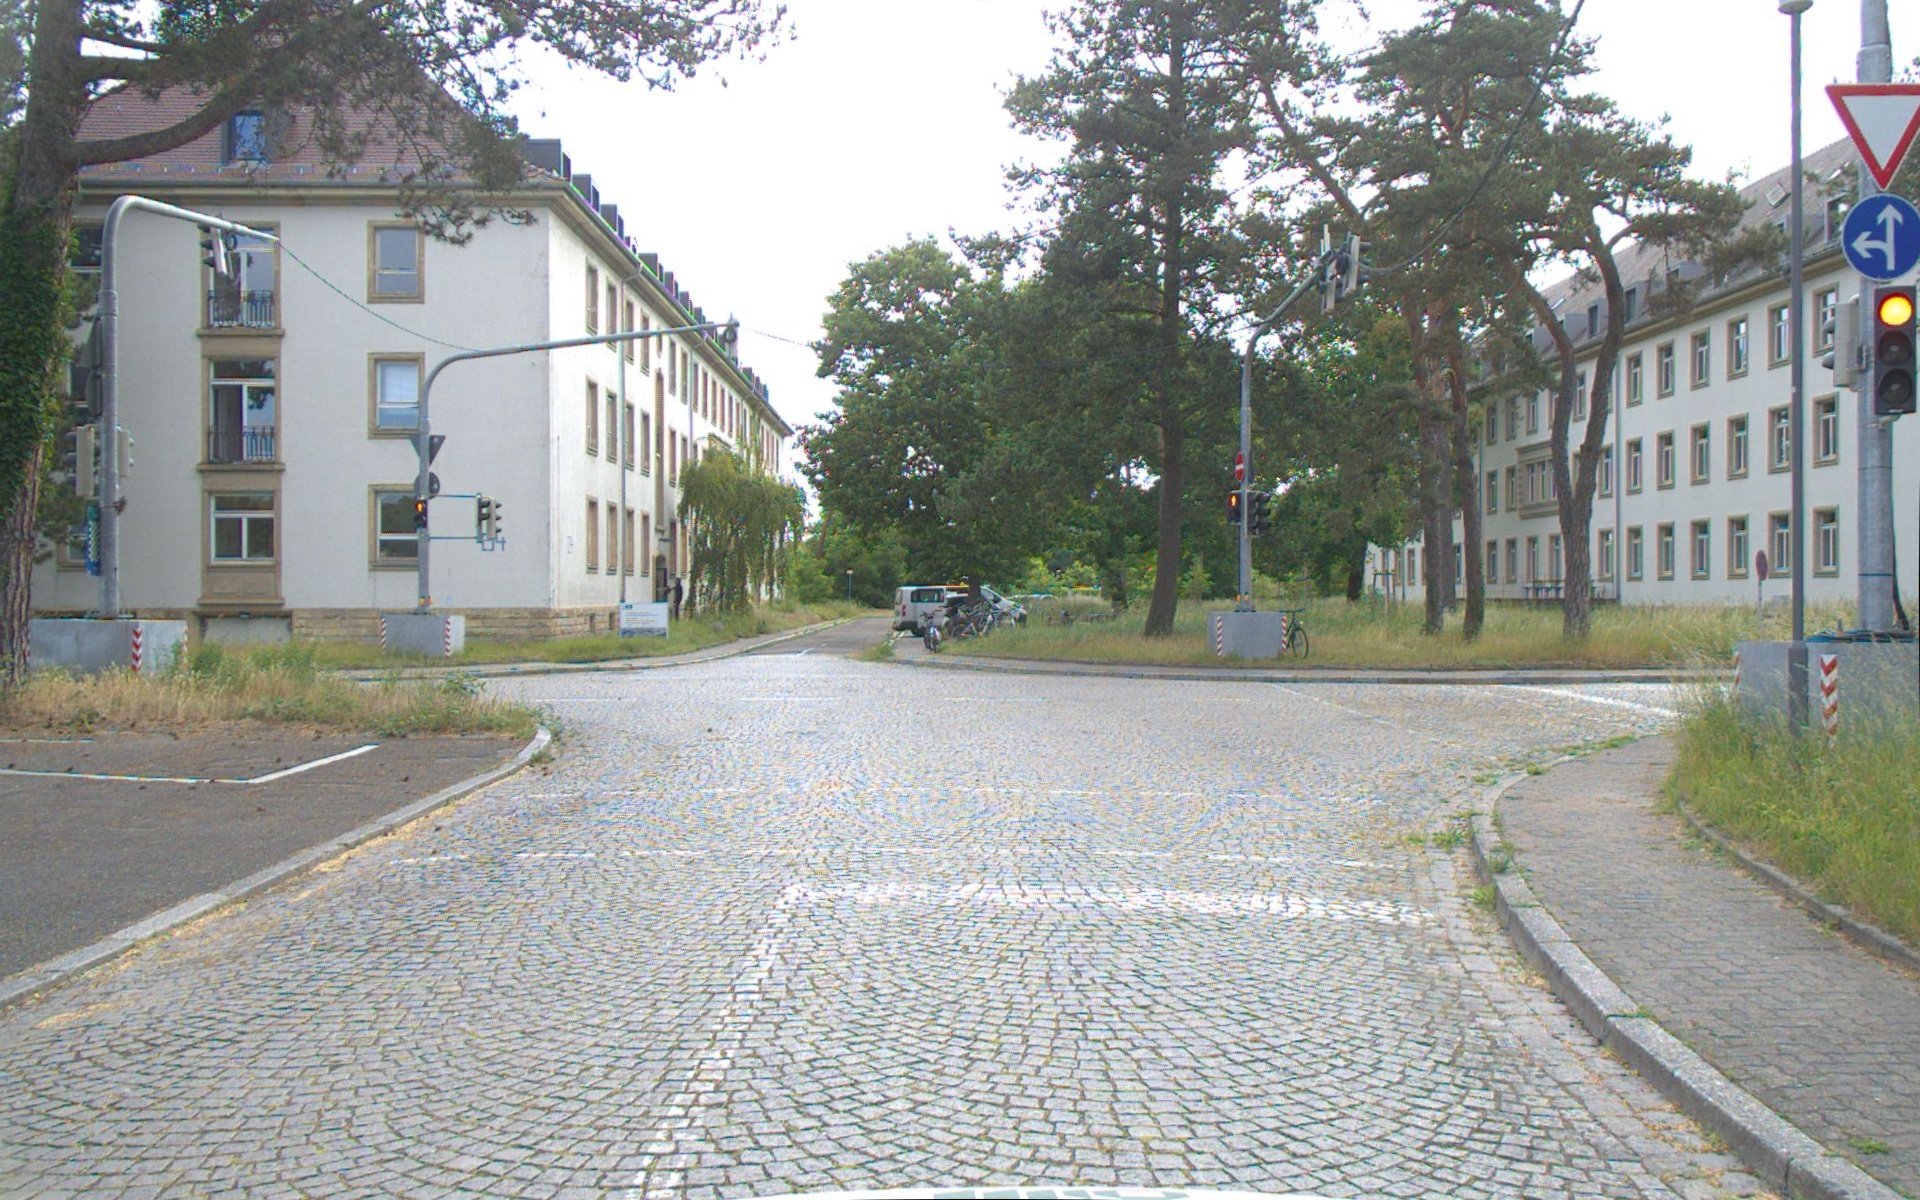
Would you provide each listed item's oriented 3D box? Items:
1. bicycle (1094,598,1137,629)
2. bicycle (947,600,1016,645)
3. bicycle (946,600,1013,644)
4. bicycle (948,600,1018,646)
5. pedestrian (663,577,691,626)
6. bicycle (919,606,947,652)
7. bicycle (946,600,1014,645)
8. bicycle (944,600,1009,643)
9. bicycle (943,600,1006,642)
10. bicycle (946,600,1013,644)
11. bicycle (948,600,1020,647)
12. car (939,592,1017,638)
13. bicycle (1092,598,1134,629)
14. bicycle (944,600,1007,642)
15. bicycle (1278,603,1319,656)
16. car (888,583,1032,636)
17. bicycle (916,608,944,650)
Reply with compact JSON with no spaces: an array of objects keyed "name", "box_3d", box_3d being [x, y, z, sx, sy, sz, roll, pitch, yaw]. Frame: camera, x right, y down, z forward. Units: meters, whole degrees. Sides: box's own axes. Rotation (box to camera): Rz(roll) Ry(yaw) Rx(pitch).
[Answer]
[{"name":"bicycle","box_3d":[5.599,0.485,59.714,1.517,1.144,0.401,0,0,1]},{"name":"bicycle","box_3d":[0.608,0.651,47.632,1.942,1.269,0.624,1,-1,-3]},{"name":"bicycle","box_3d":[0.582,0.659,49.650,1.942,1.269,0.624,1,-1,-3]},{"name":"bicycle","box_3d":[0.643,0.648,46.707,1.942,1.269,0.624,1,-1,-3]},{"name":"pedestrian","box_3d":[-10.579,0.044,61.827,0.819,1.812,0.941,0,0,5]},{"name":"bicycle","box_3d":[-0.684,0.740,42.682,0.609,1.133,1.989,1,0,2]},{"name":"bicycle","box_3d":[0.587,0.654,48.492,1.942,1.269,0.624,1,-1,-3]},{"name":"bicycle","box_3d":[0.506,0.664,51.240,1.942,1.269,0.624,1,-1,-3]},{"name":"bicycle","box_3d":[0.463,0.669,52.393,1.943,1.269,0.624,-2,0,-3]},{"name":"bicycle","box_3d":[0.578,0.657,49.124,1.942,1.269,0.624,1,-1,-3]},{"name":"bicycle","box_3d":[0.657,0.645,46.078,1.942,1.269,0.624,1,-1,-3]},{"name":"car","box_3d":[0.647,0.542,60.703,2.790,1.585,1.472,-1,1,-1]},{"name":"bicycle","box_3d":[5.647,0.488,60.946,1.517,1.144,0.401,0,0,1]},{"name":"bicycle","box_3d":[0.479,0.666,51.734,1.942,1.269,0.624,1,-1,-3]},{"name":"bicycle","box_3d":[6.900,0.590,33.749,0.568,0.987,1.679,-2,2,3]},{"name":"car","box_3d":[-0.022,0.362,64.170,5.217,1.949,2.141,-1,0,-16]},{"name":"bicycle","box_3d":[-0.794,0.762,44.635,0.609,1.101,1.678,1,0,3]}]
